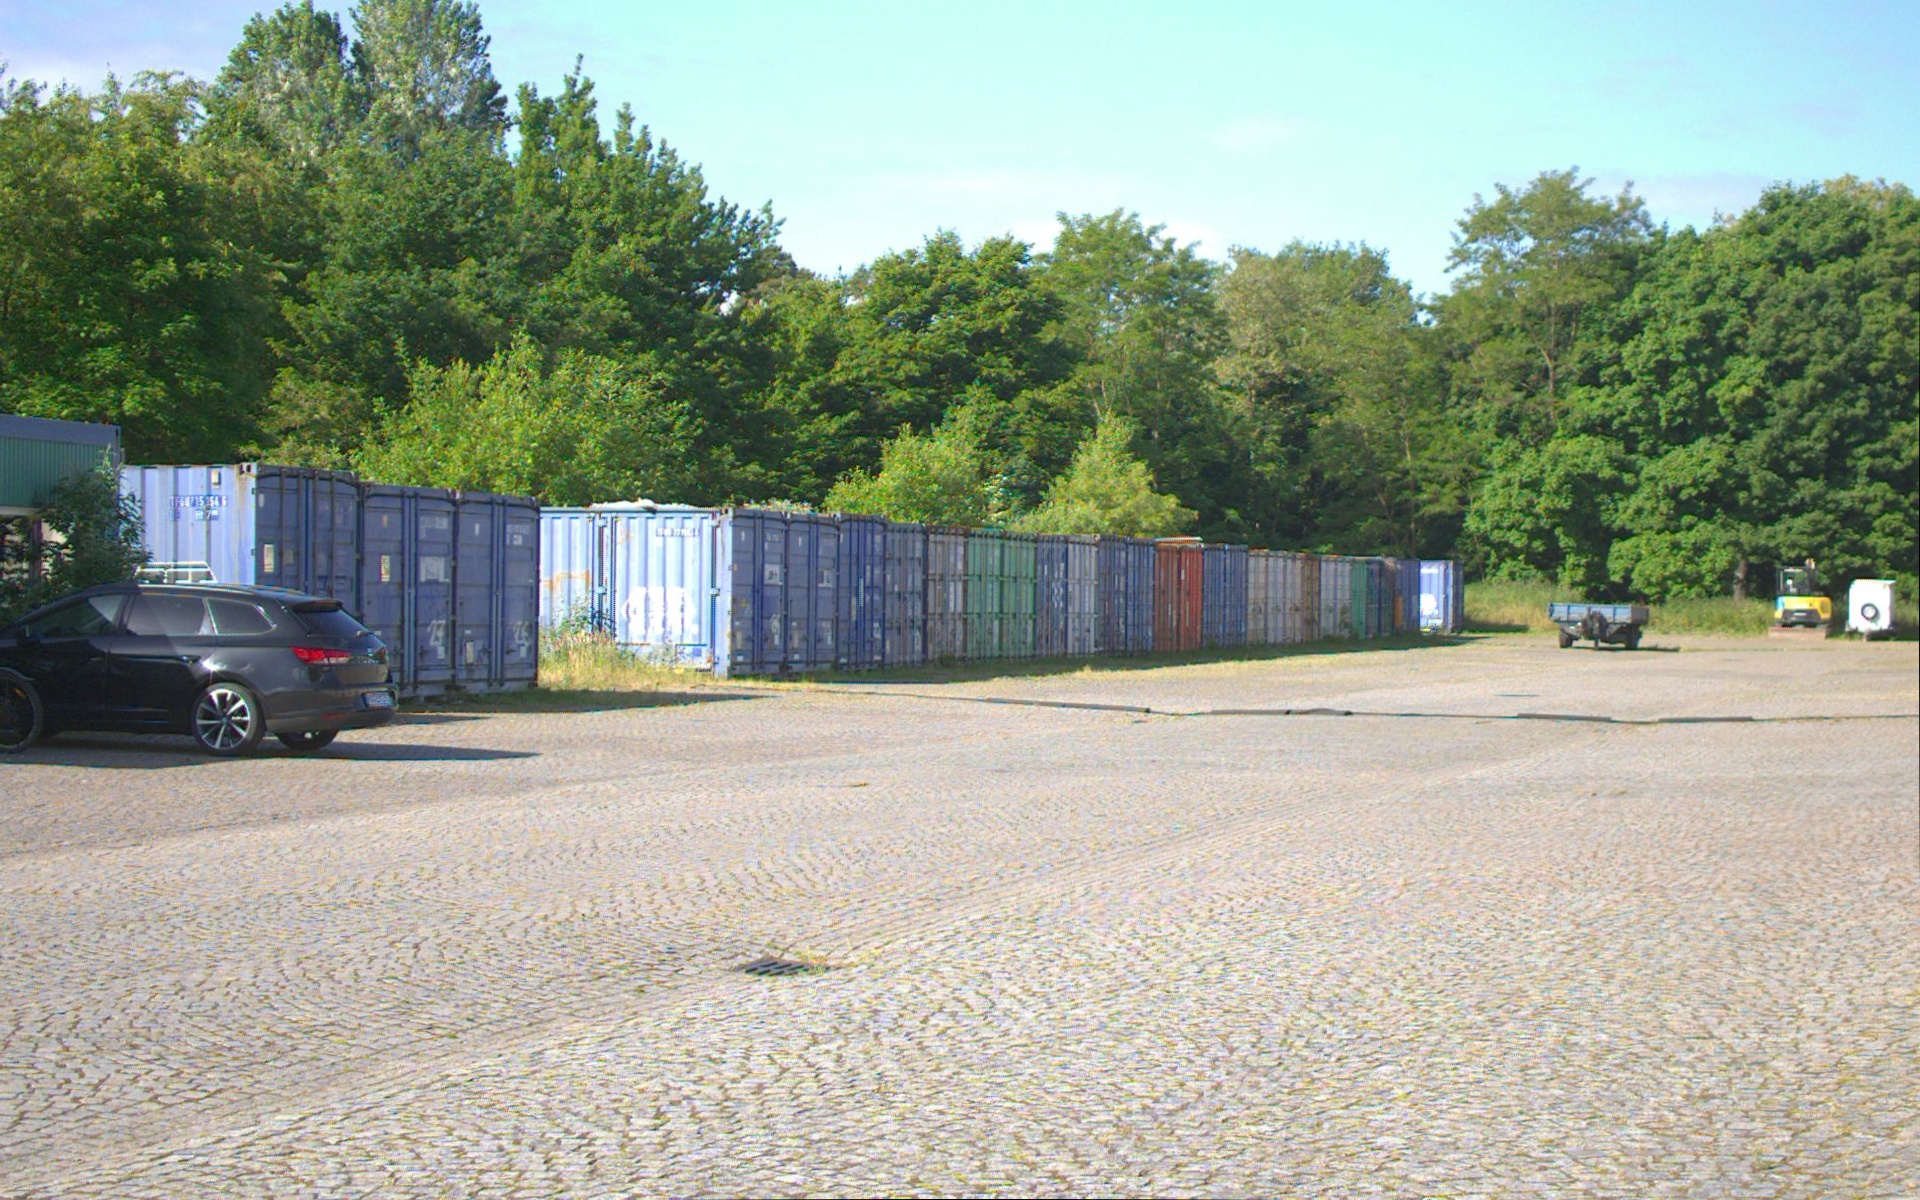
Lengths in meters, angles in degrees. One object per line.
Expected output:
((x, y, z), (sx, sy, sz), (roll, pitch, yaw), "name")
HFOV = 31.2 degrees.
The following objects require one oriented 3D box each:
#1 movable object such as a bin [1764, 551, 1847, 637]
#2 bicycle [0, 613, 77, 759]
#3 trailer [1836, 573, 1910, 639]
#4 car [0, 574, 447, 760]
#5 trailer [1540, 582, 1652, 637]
((30.407, -0.251, 123.515), (2.308, 2.887, 5.746), (2, 2, 18), "movable object such as a bin")
((-8.311, 0.687, 28.474), (1.805, 1.166, 0.668), (2, 0, 15), "bicycle")
((32.484, 0.186, 122.208), (2.195, 2.087, 5.746), (2, 2, 17), "trailer")
((-6.843, 0.544, 29.916), (4.255, 1.444, 1.930), (2, 0, 16), "car")
((19.525, 0.254, 105.335), (2.707, 1.460, 6.242), (2, 2, 16), "trailer")
